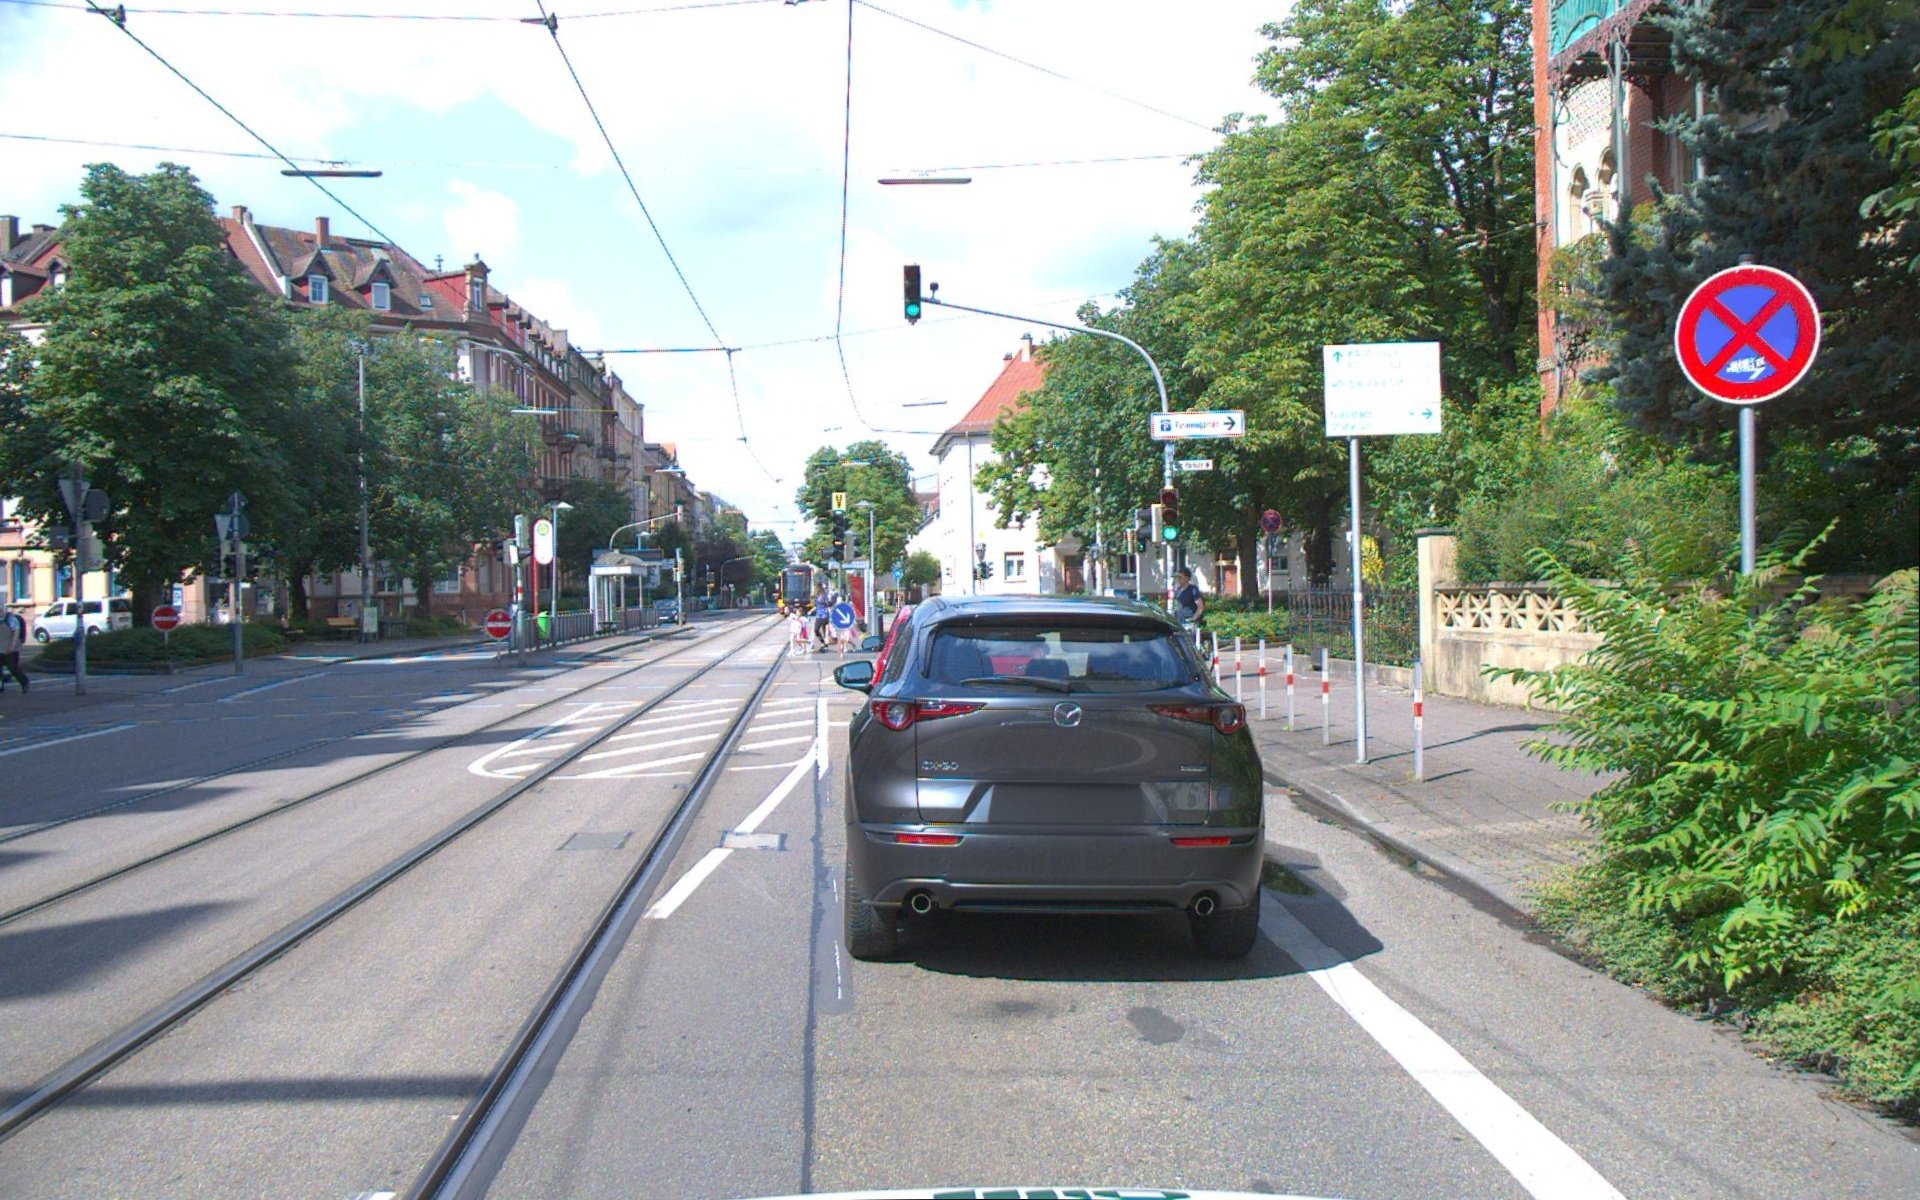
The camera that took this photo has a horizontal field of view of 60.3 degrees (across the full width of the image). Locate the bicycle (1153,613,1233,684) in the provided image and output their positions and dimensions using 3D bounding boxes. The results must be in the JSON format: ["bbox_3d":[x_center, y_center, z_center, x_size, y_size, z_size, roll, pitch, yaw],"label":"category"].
[{"bbox_3d":[3.814,0.780,26.969,0.382,1.053,1.836,-1,1,39],"label":"bicycle"}]

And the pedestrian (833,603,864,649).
[{"bbox_3d":[-2.765,0.643,41.002,0.631,1.133,0.441,-1,0,-20],"label":"pedestrian"}]

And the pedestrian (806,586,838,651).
[{"bbox_3d":[-3.448,0.452,41.233,0.714,1.593,0.797,-1,0,-9],"label":"pedestrian"}]

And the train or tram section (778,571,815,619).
[{"bbox_3d":[-14.508,-0.333,147.411,2.939,4.053,13.794,-1,-1,-5],"label":"train or tram section"}]

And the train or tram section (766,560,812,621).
[{"bbox_3d":[-12.269,-0.566,119.879,2.939,4.053,13.794,-1,-1,-5],"label":"train or tram section"}]

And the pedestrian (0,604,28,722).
[{"bbox_3d":[-14.644,0.932,24.843,0.741,1.734,0.873,3,0,-5],"label":"pedestrian"}]

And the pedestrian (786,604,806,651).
[{"bbox_3d":[-4.096,0.688,41.305,0.429,1.127,0.422,-3,0,-9],"label":"pedestrian"}]

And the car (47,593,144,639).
[{"bbox_3d":[-40.043,0.748,76.620,3.853,2.023,1.857,-1,0,19],"label":"car"}]

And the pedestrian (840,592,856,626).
[{"bbox_3d":[-5.138,0.408,75.841,0.654,1.573,0.580,-1,0,-6],"label":"pedestrian"}]

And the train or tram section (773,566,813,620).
[{"bbox_3d":[-13.403,-0.428,133.682,2.939,4.053,13.794,-1,-1,-5],"label":"train or tram section"}]

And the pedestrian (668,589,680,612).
[{"bbox_3d":[-21.578,0.032,124.773,0.772,1.718,0.731,-1,0,-3],"label":"pedestrian"}]

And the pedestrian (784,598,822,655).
[{"bbox_3d":[-3.827,0.649,40.301,0.810,1.326,0.716,-3,0,-9],"label":"pedestrian"}]

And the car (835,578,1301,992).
[{"bbox_3d":[0.395,0.707,8.253,1.746,1.540,3.999,1,0,-1],"label":"car"}]

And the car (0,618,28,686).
[{"bbox_3d":[-22.413,1.171,36.722,3.800,1.445,1.713,-1,0,39],"label":"car"}]

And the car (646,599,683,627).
[{"bbox_3d":[-16.220,0.696,90.910,1.593,1.411,3.433,-3,1,-4],"label":"car"}]

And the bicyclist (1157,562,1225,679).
[{"bbox_3d":[3.746,0.327,26.824,0.724,1.851,0.813,-1,0,-27],"label":"bicyclist"}]

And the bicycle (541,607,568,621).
[{"bbox_3d":[-23.007,0.783,93.889,0.378,0.760,1.707,-1,0,31],"label":"bicycle"}]

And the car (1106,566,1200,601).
[{"bbox_3d":[9.207,-0.796,79.066,4.090,1.536,1.844,-1,2,38],"label":"car"}]

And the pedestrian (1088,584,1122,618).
[{"bbox_3d":[5.779,0.050,65.786,1.170,1.291,0.556,-3,0,-10],"label":"pedestrian"}]

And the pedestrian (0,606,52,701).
[{"bbox_3d":[-17.348,0.971,30.396,0.837,1.702,0.821,-1,0,-3],"label":"pedestrian"}]

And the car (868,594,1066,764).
[{"bbox_3d":[0.021,0.687,16.477,1.739,1.489,3.841,0,0,-1],"label":"car"}]
